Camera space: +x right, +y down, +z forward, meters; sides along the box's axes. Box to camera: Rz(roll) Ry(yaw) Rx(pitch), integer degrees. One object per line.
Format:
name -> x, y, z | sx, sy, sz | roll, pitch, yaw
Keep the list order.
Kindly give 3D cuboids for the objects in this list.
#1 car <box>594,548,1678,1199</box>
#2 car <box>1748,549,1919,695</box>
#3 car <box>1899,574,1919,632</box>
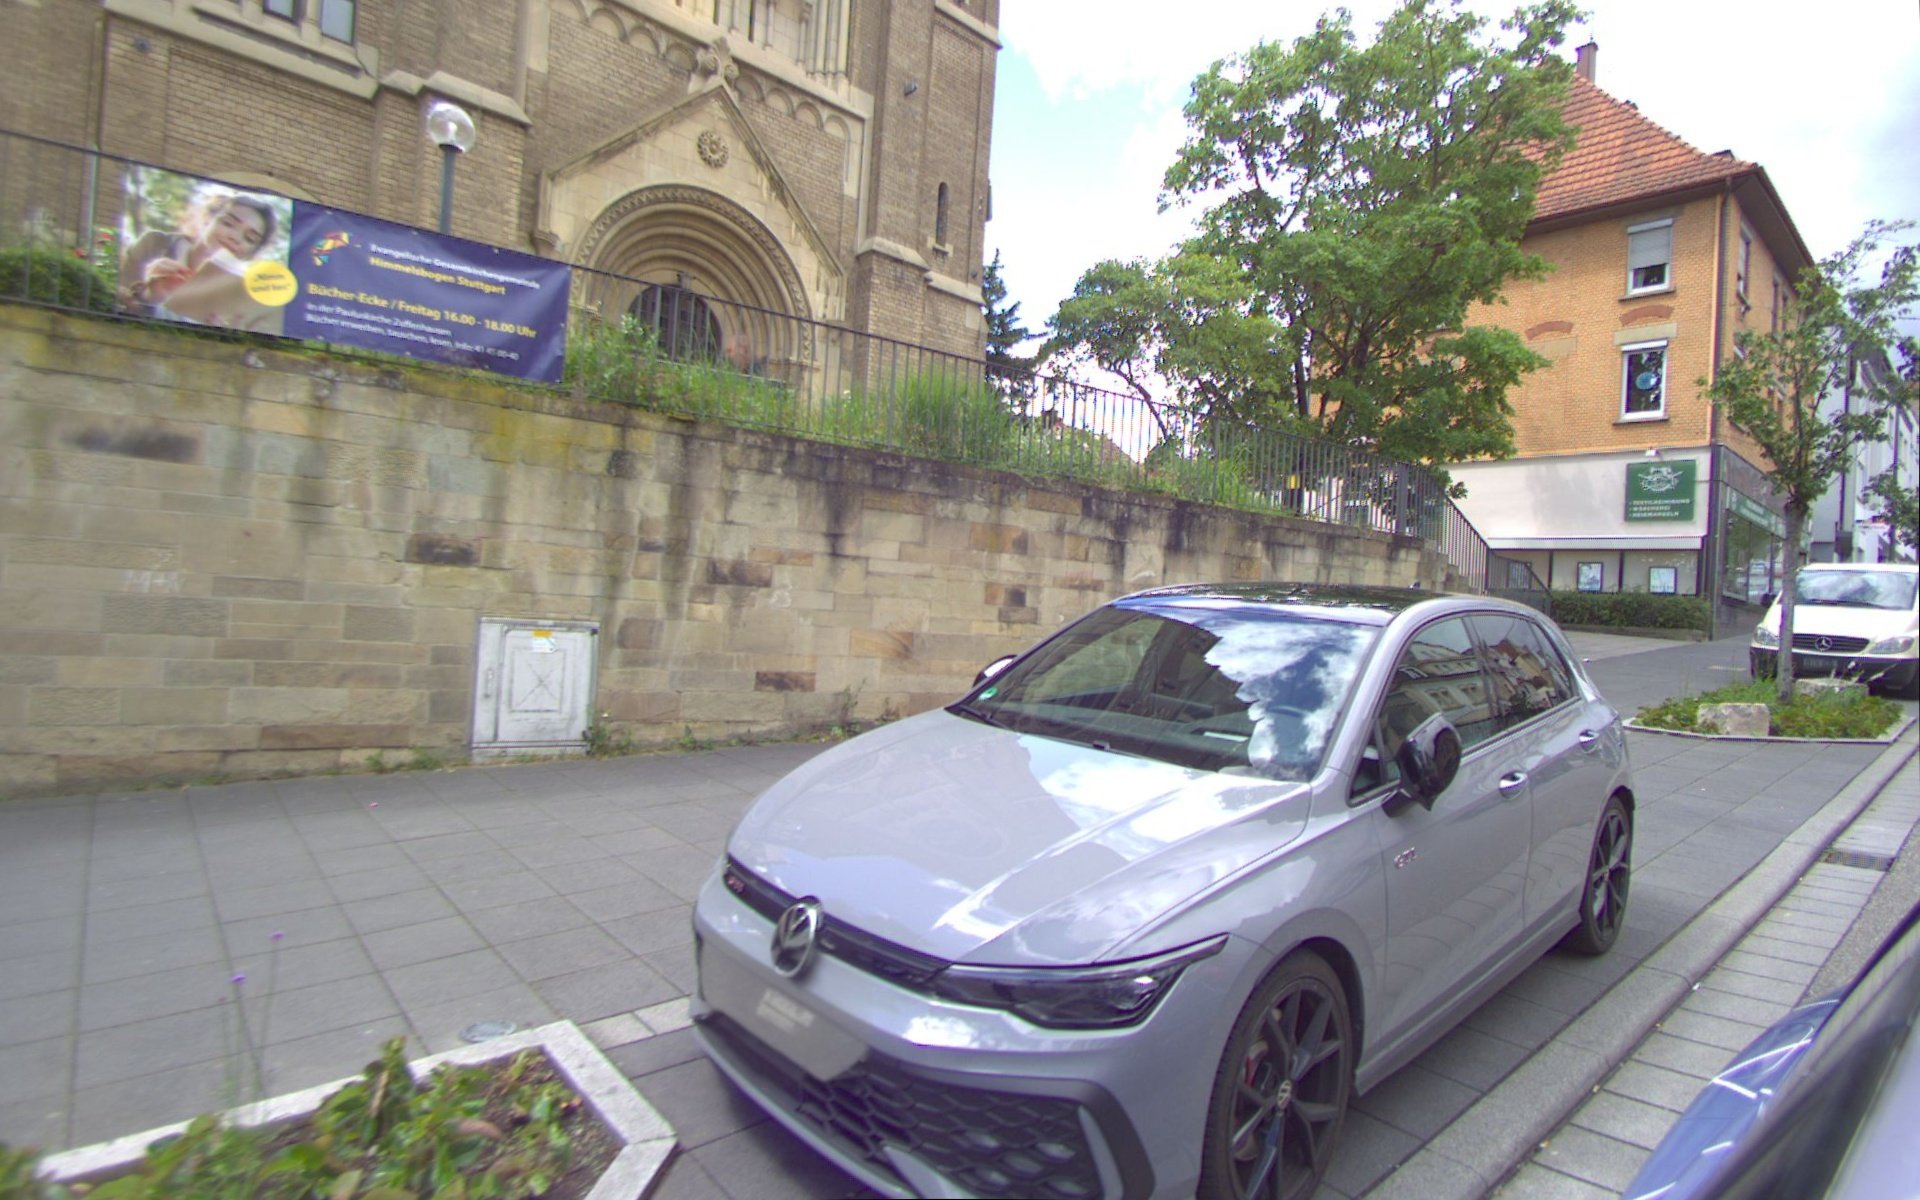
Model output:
car -> 1.010, 0.594, 3.631 | 4.021, 1.459, 1.757 | -1, 3, -43
car -> 13.929, 0.231, 15.301 | 4.937, 1.870, 1.891 | -1, 3, -37
car -> 26.372, 0.099, 26.791 | 3.879, 1.465, 1.815 | -1, 5, -42
